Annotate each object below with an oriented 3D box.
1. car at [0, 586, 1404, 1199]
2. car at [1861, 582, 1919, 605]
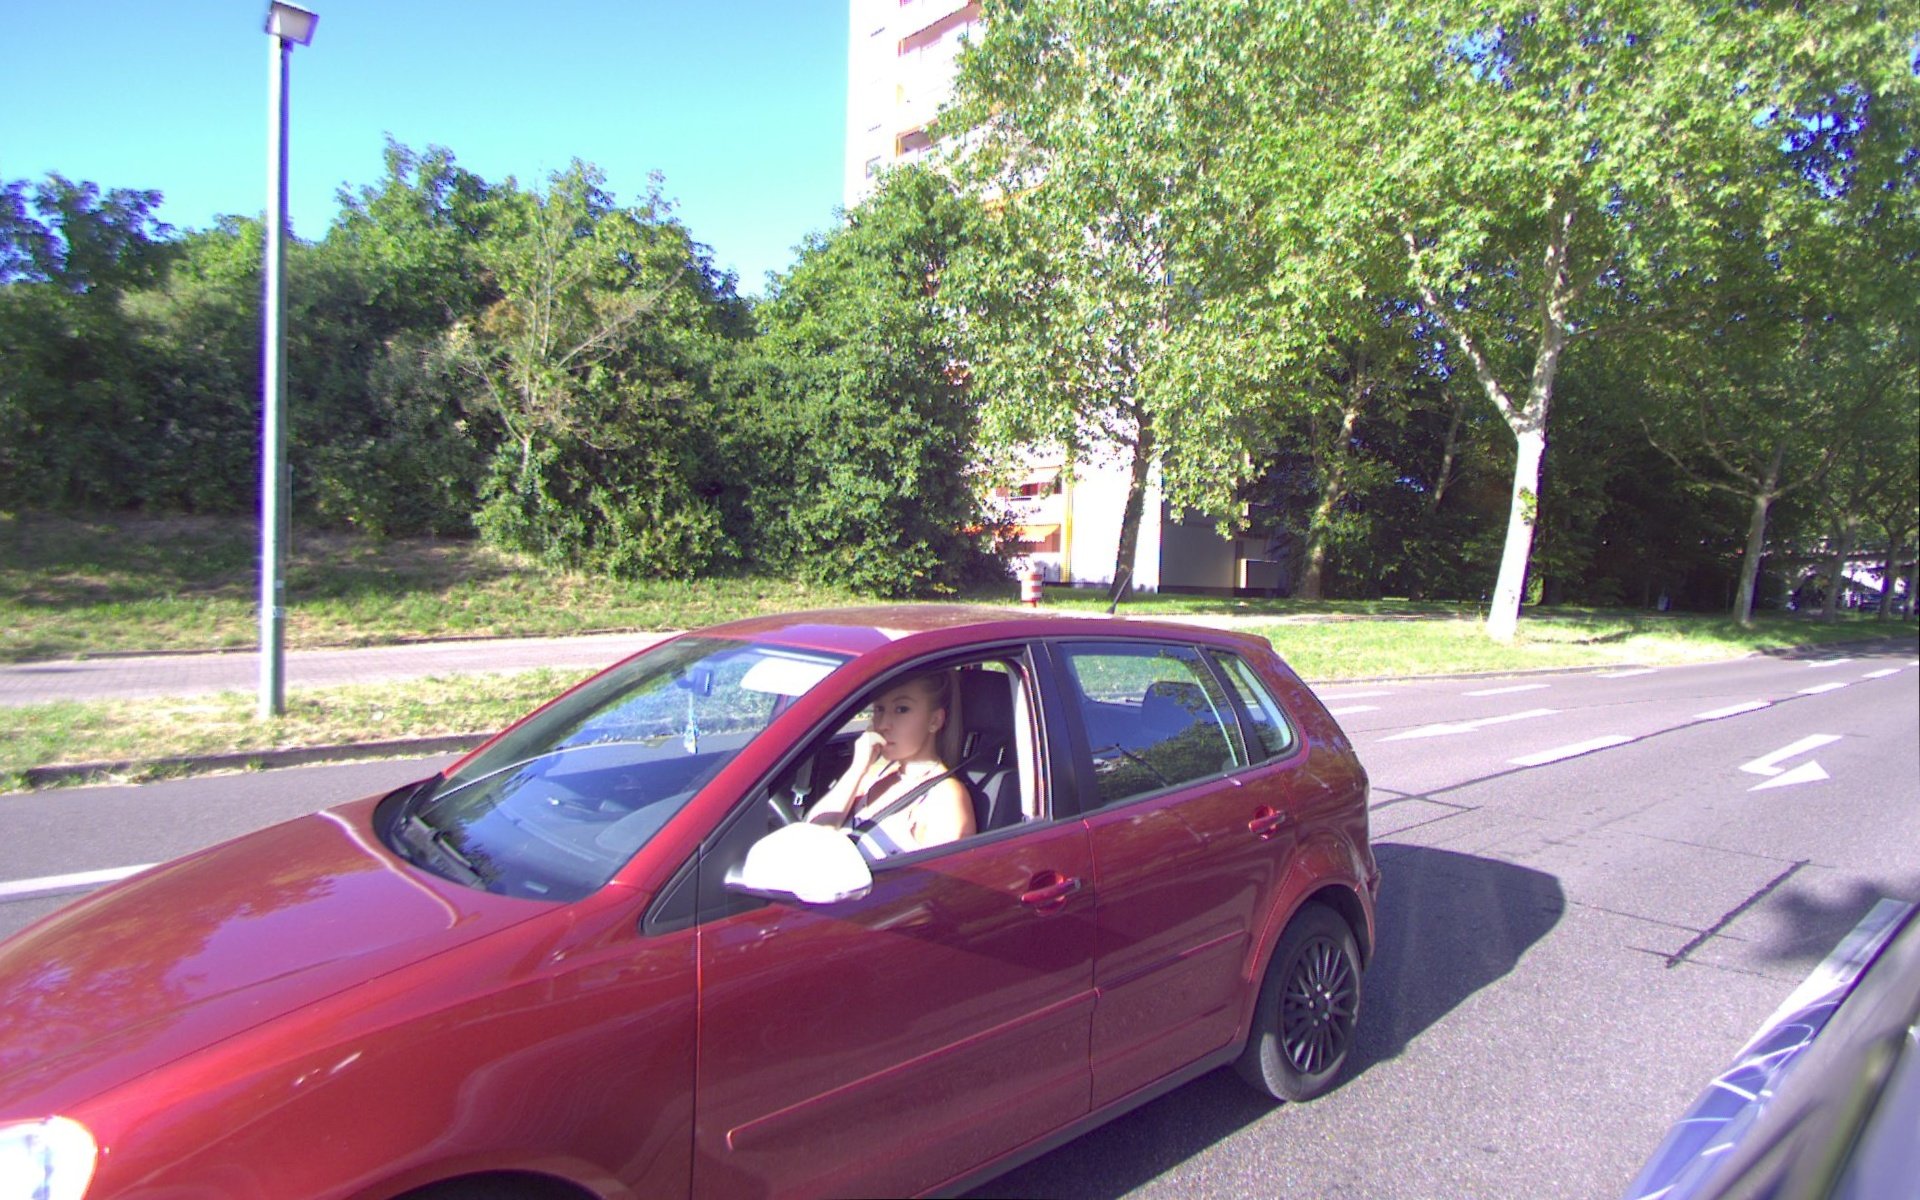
[{"bbox_3d":[-0.446,0.711,2.722,3.624,1.479,1.579,-1,0,-40],"label":"car"},{"bbox_3d":[81.038,-0.585,87.407,4.704,1.959,1.878,1,1,44],"label":"car"}]
